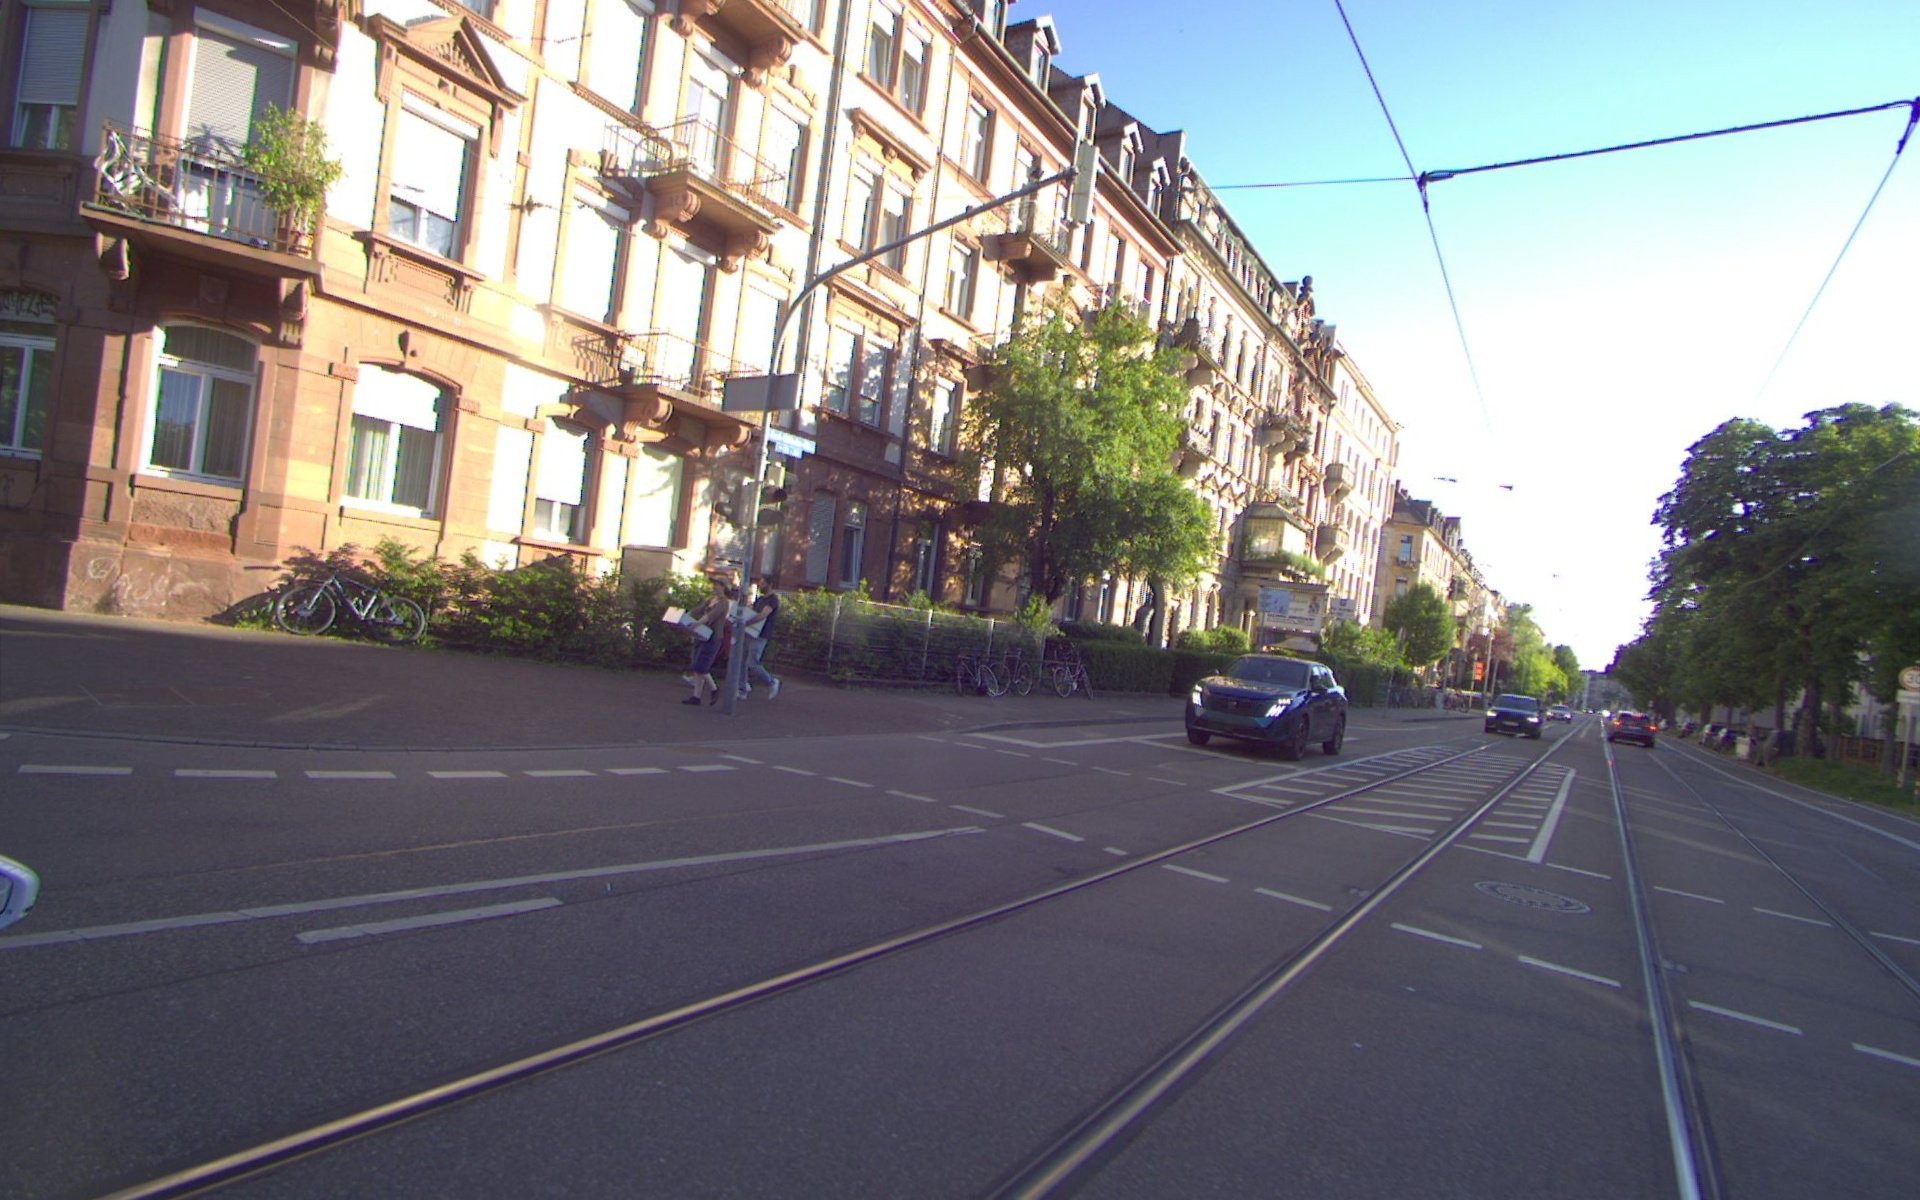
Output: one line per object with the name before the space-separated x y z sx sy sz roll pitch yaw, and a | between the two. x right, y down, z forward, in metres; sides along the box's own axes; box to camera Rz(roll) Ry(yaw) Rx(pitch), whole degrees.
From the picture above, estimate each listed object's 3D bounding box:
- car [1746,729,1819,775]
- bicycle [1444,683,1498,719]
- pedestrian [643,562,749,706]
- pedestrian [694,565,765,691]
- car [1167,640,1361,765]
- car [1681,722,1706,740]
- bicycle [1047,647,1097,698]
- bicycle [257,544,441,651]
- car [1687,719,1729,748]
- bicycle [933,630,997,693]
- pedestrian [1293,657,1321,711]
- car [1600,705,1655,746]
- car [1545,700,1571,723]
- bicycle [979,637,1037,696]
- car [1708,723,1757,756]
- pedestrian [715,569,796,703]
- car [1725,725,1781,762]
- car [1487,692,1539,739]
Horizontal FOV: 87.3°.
car | 33.828 6.211 41.460 1.527 1.457 3.832 7 -1 29
bicycle | 36.123 7.141 71.165 3.190 2.041 0.930 7 0 28
pedestrian | -3.376 0.433 12.858 0.891 1.686 0.704 7 3 -40
pedestrian | -3.324 0.408 14.505 0.632 1.736 0.515 7 0 -44
car | 5.407 1.752 17.481 1.917 1.669 4.400 7 -1 34
car | 61.454 10.973 84.312 1.421 1.263 3.308 7 -1 34
bicycle | 2.542 1.649 22.760 0.436 1.051 1.229 8 0 38
bicycle | -8.136 -0.016 13.491 1.942 1.120 0.441 9 -1 -23
car | 50.122 8.951 67.461 1.573 1.556 3.887 7 -1 29
bicycle | 0.106 1.205 19.593 0.436 1.121 1.229 8 0 39
pedestrian | 11.241 2.720 32.575 0.519 1.661 0.492 7 0 45
car | 31.931 5.963 48.238 1.944 1.604 4.466 7 -1 33
car | 49.758 9.255 83.783 1.573 1.630 3.596 7 -1 30
bicycle | 1.000 1.380 20.684 0.436 1.121 1.229 8 0 39
car | 45.112 8.110 58.846 1.573 1.556 3.887 7 -1 29
pedestrian | -2.846 0.498 14.007 0.632 1.737 0.655 7 3 -44
car | 41.317 7.449 52.496 1.573 1.556 3.887 7 -1 29
car | 21.690 4.481 39.534 1.510 1.542 3.473 7 -1 27
